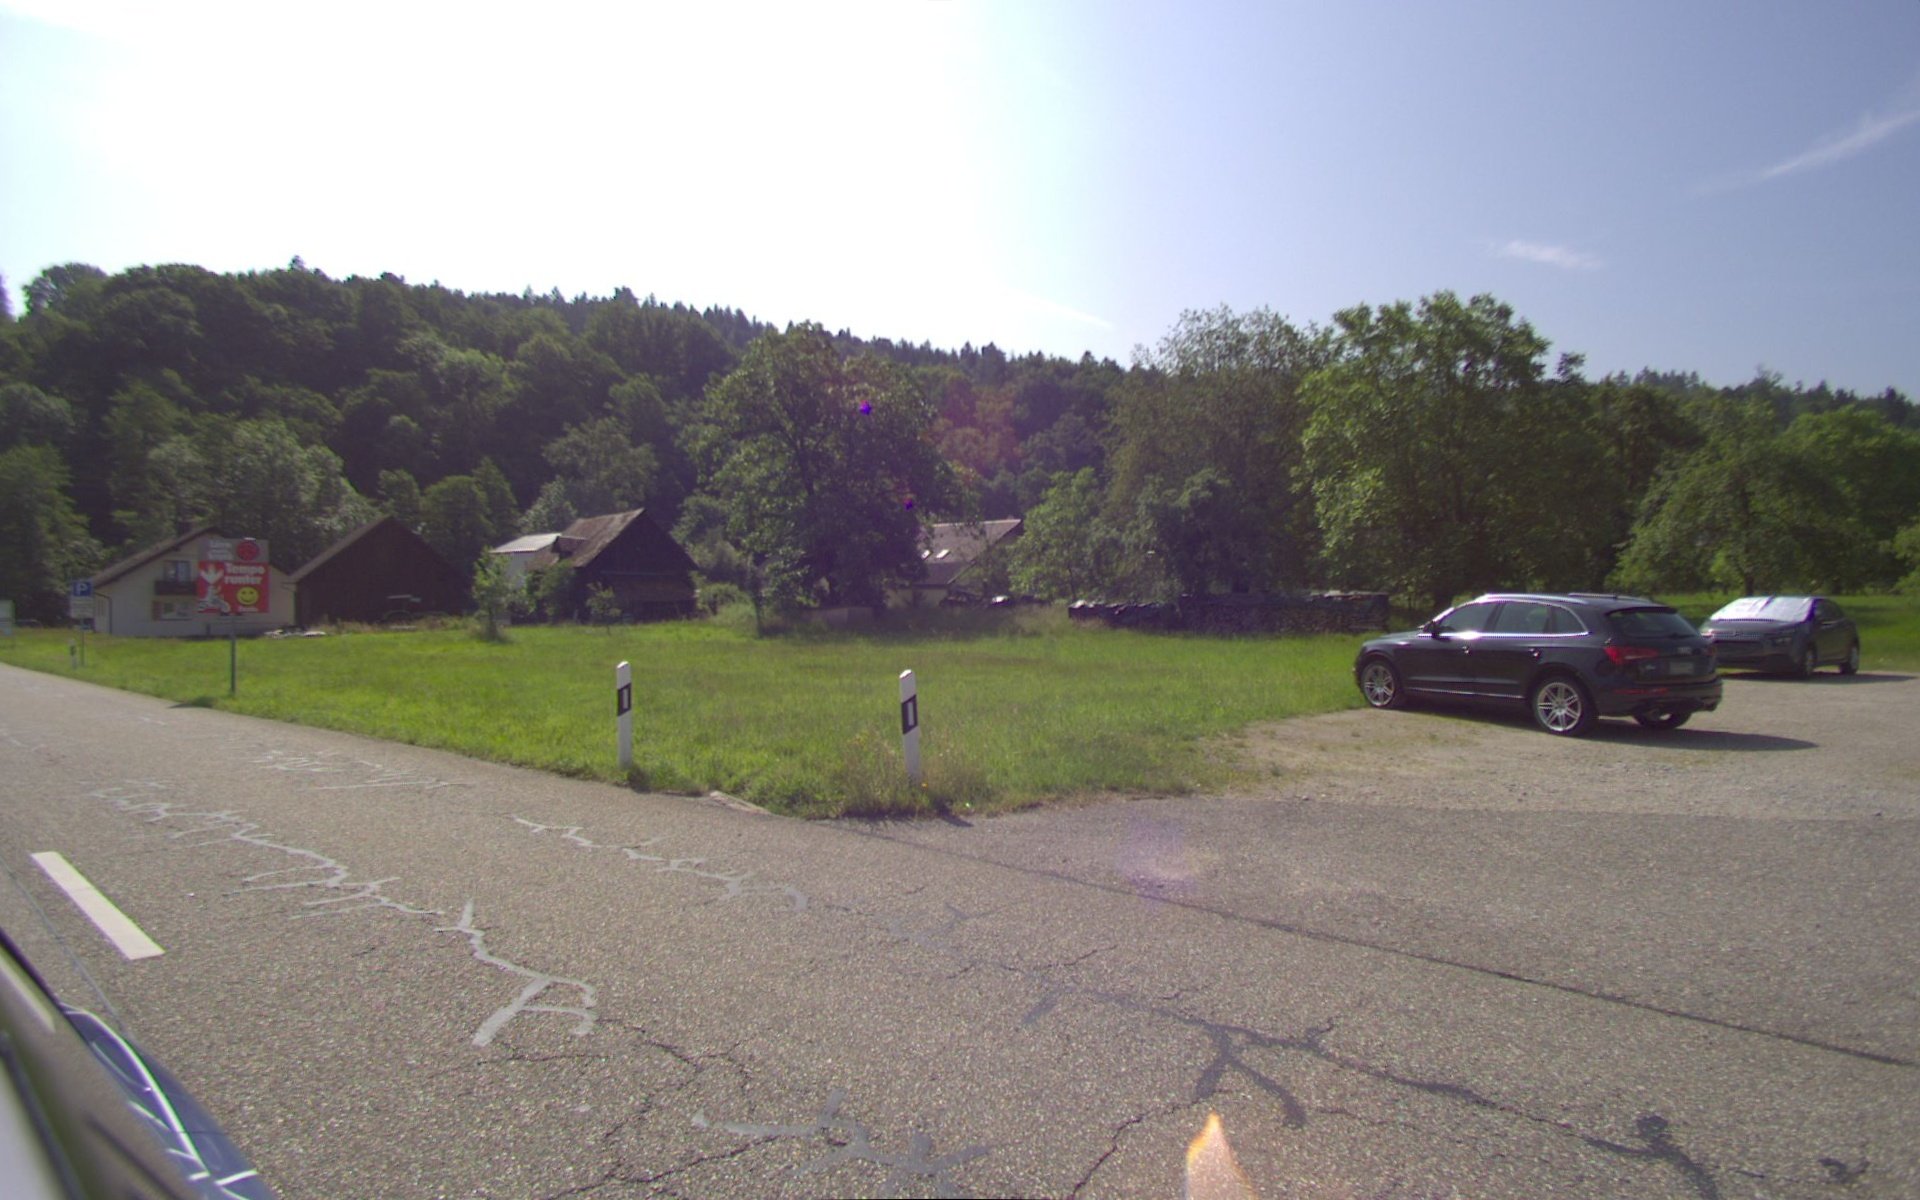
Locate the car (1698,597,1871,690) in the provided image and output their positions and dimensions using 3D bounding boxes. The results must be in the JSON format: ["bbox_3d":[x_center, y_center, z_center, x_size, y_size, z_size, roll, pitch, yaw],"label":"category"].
[{"bbox_3d":[15.305,0.742,18.722,3.873,1.496,1.920,-1,-1,-43],"label":"car"}]

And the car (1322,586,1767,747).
[{"bbox_3d":[7.196,0.739,13.206,1.804,1.661,4.924,-1,-1,-21],"label":"car"}]

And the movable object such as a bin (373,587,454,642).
[{"bbox_3d":[-33.359,0.858,61.770,4.123,3.161,2.208,-1,-1,-35],"label":"movable object such as a bin"}]
